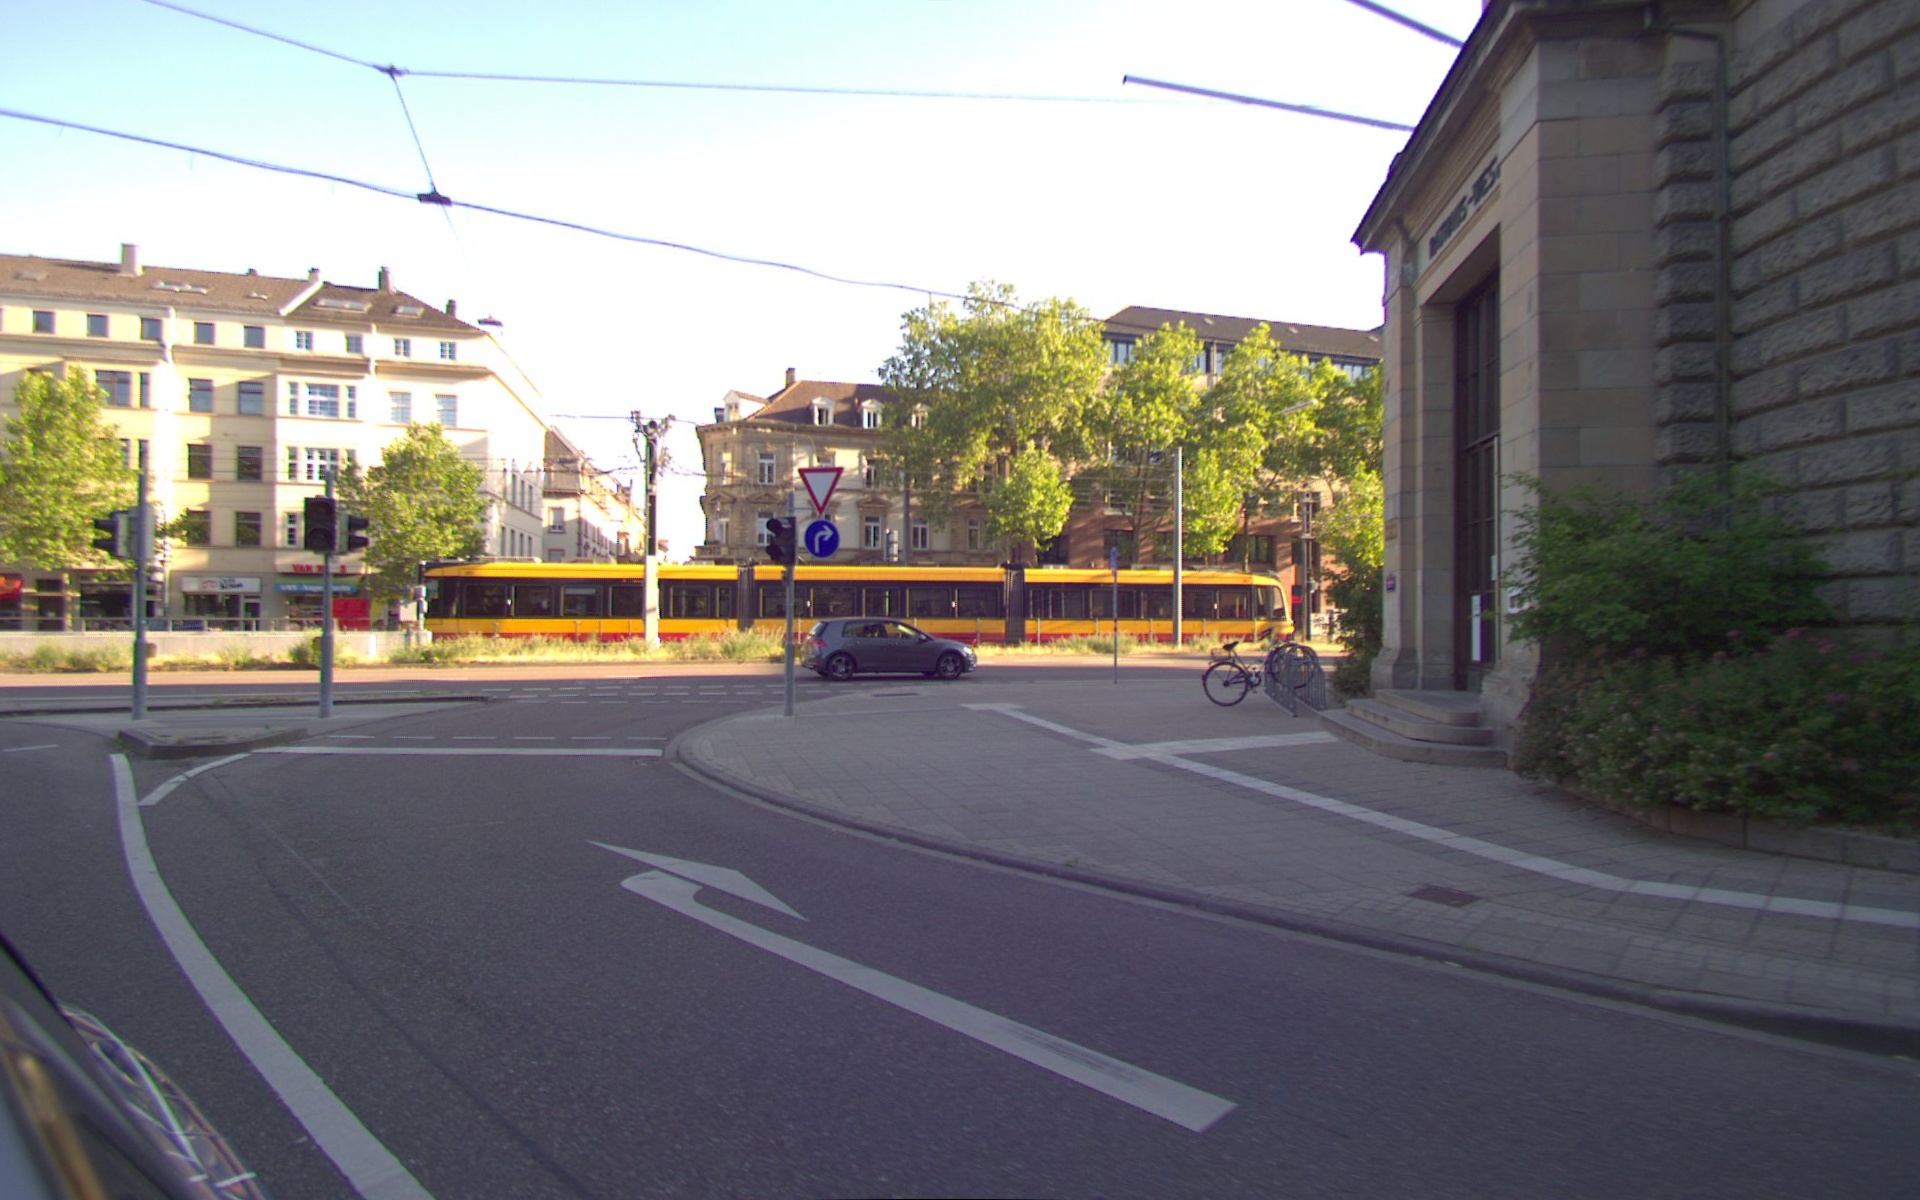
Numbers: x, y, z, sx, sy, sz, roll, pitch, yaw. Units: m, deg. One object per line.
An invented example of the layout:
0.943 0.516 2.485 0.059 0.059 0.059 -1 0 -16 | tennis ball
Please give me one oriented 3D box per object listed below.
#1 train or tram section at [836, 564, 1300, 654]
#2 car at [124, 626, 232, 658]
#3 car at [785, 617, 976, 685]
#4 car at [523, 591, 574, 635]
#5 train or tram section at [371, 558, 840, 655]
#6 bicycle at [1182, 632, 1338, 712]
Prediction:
4.620 0.460 43.462 19.613 3.586 3.128 0 -2 -9 | train or tram section
-35.836 1.928 46.455 3.647 1.342 1.463 1 1 -16 | car
-1.891 1.145 23.782 4.172 1.437 1.776 0 0 -18 | car
-22.870 0.784 56.356 2.427 2.284 7.315 1 -2 -22 | car
-13.570 0.337 40.479 17.192 3.586 3.129 0 -2 -10 | train or tram section
4.677 1.111 15.939 2.212 1.205 0.868 0 -2 7 | bicycle
